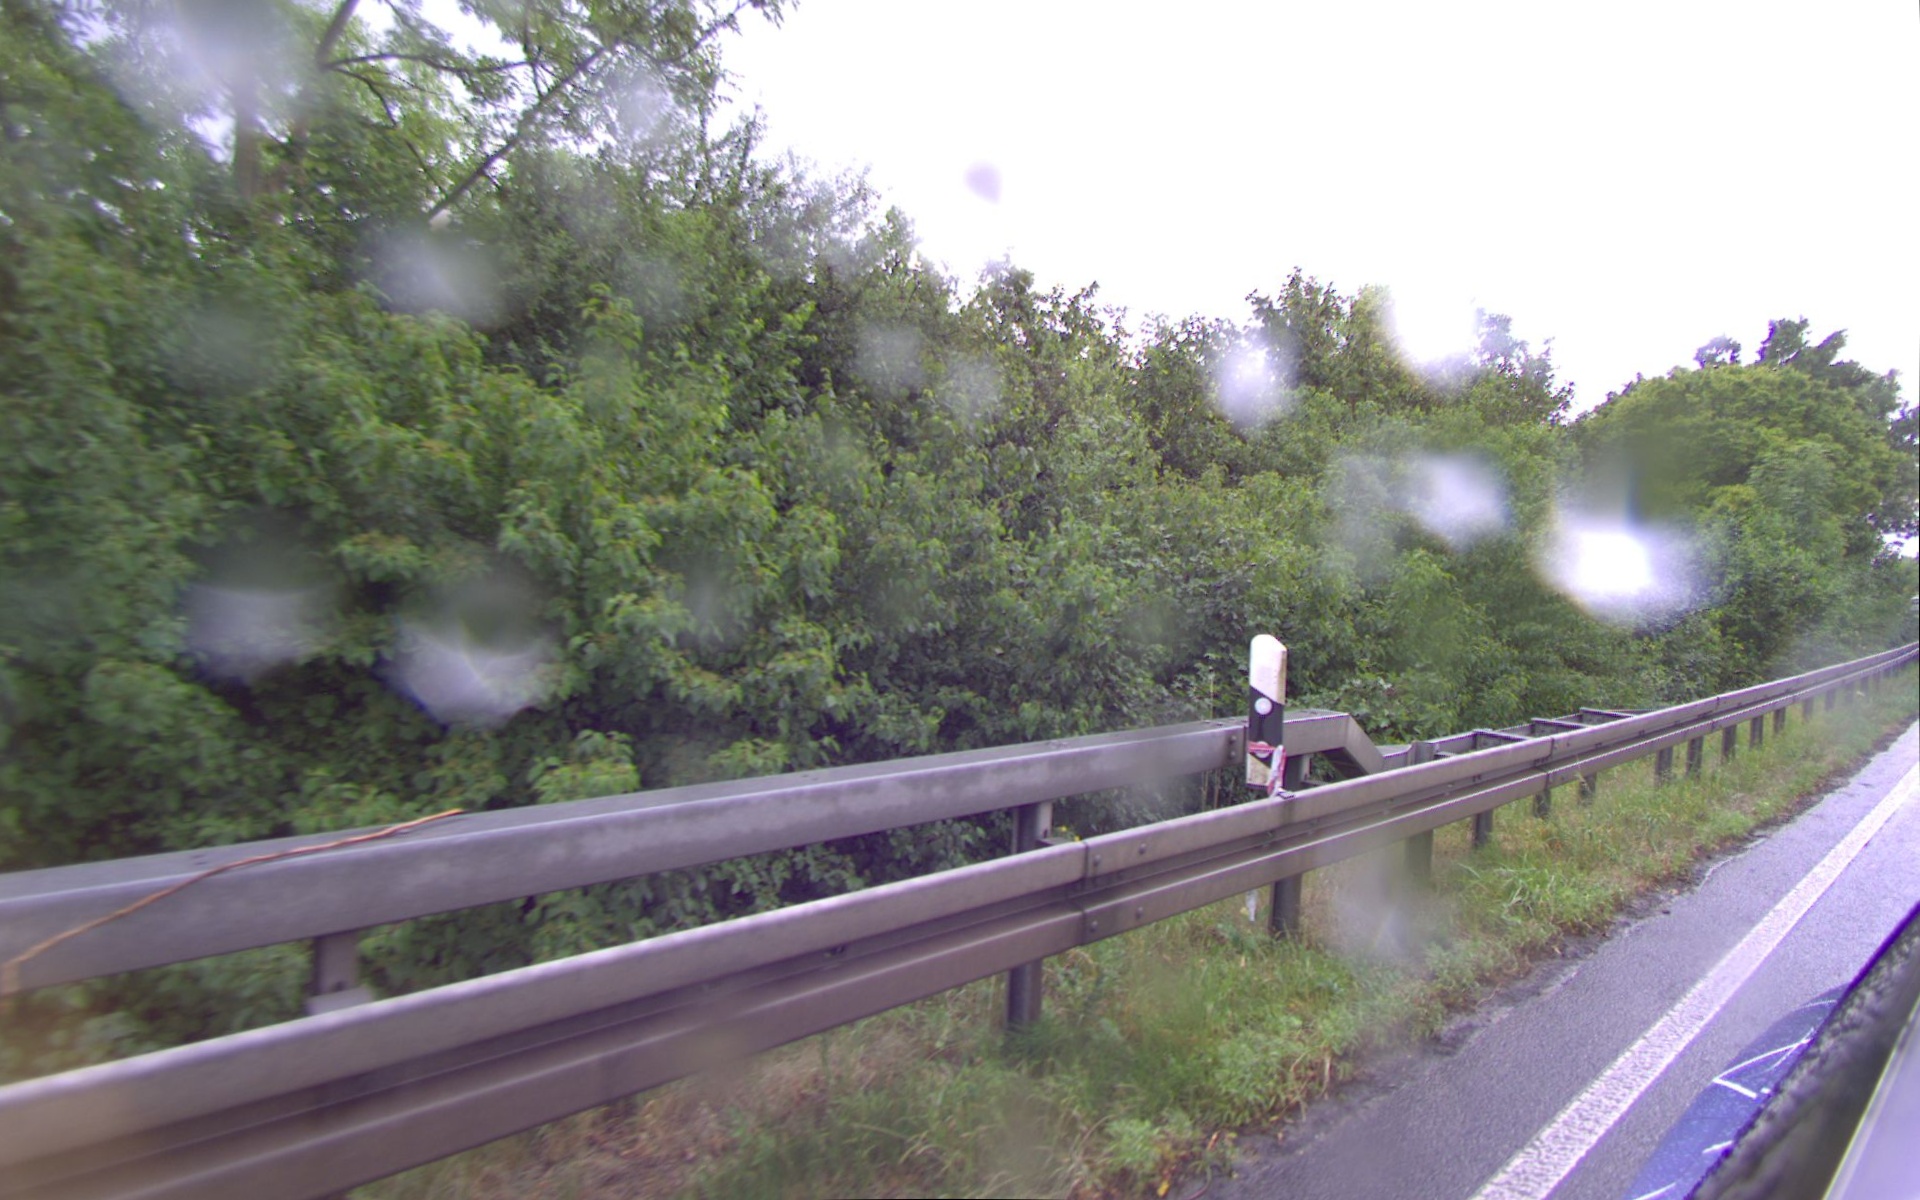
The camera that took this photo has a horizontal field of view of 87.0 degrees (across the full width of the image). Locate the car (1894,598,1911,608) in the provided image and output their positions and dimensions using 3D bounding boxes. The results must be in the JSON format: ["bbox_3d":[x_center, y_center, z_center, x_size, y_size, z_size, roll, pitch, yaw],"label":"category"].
[{"bbox_3d":[136.756,0.423,146.827,1.527,1.486,3.032,1,0,38],"label":"car"}]
